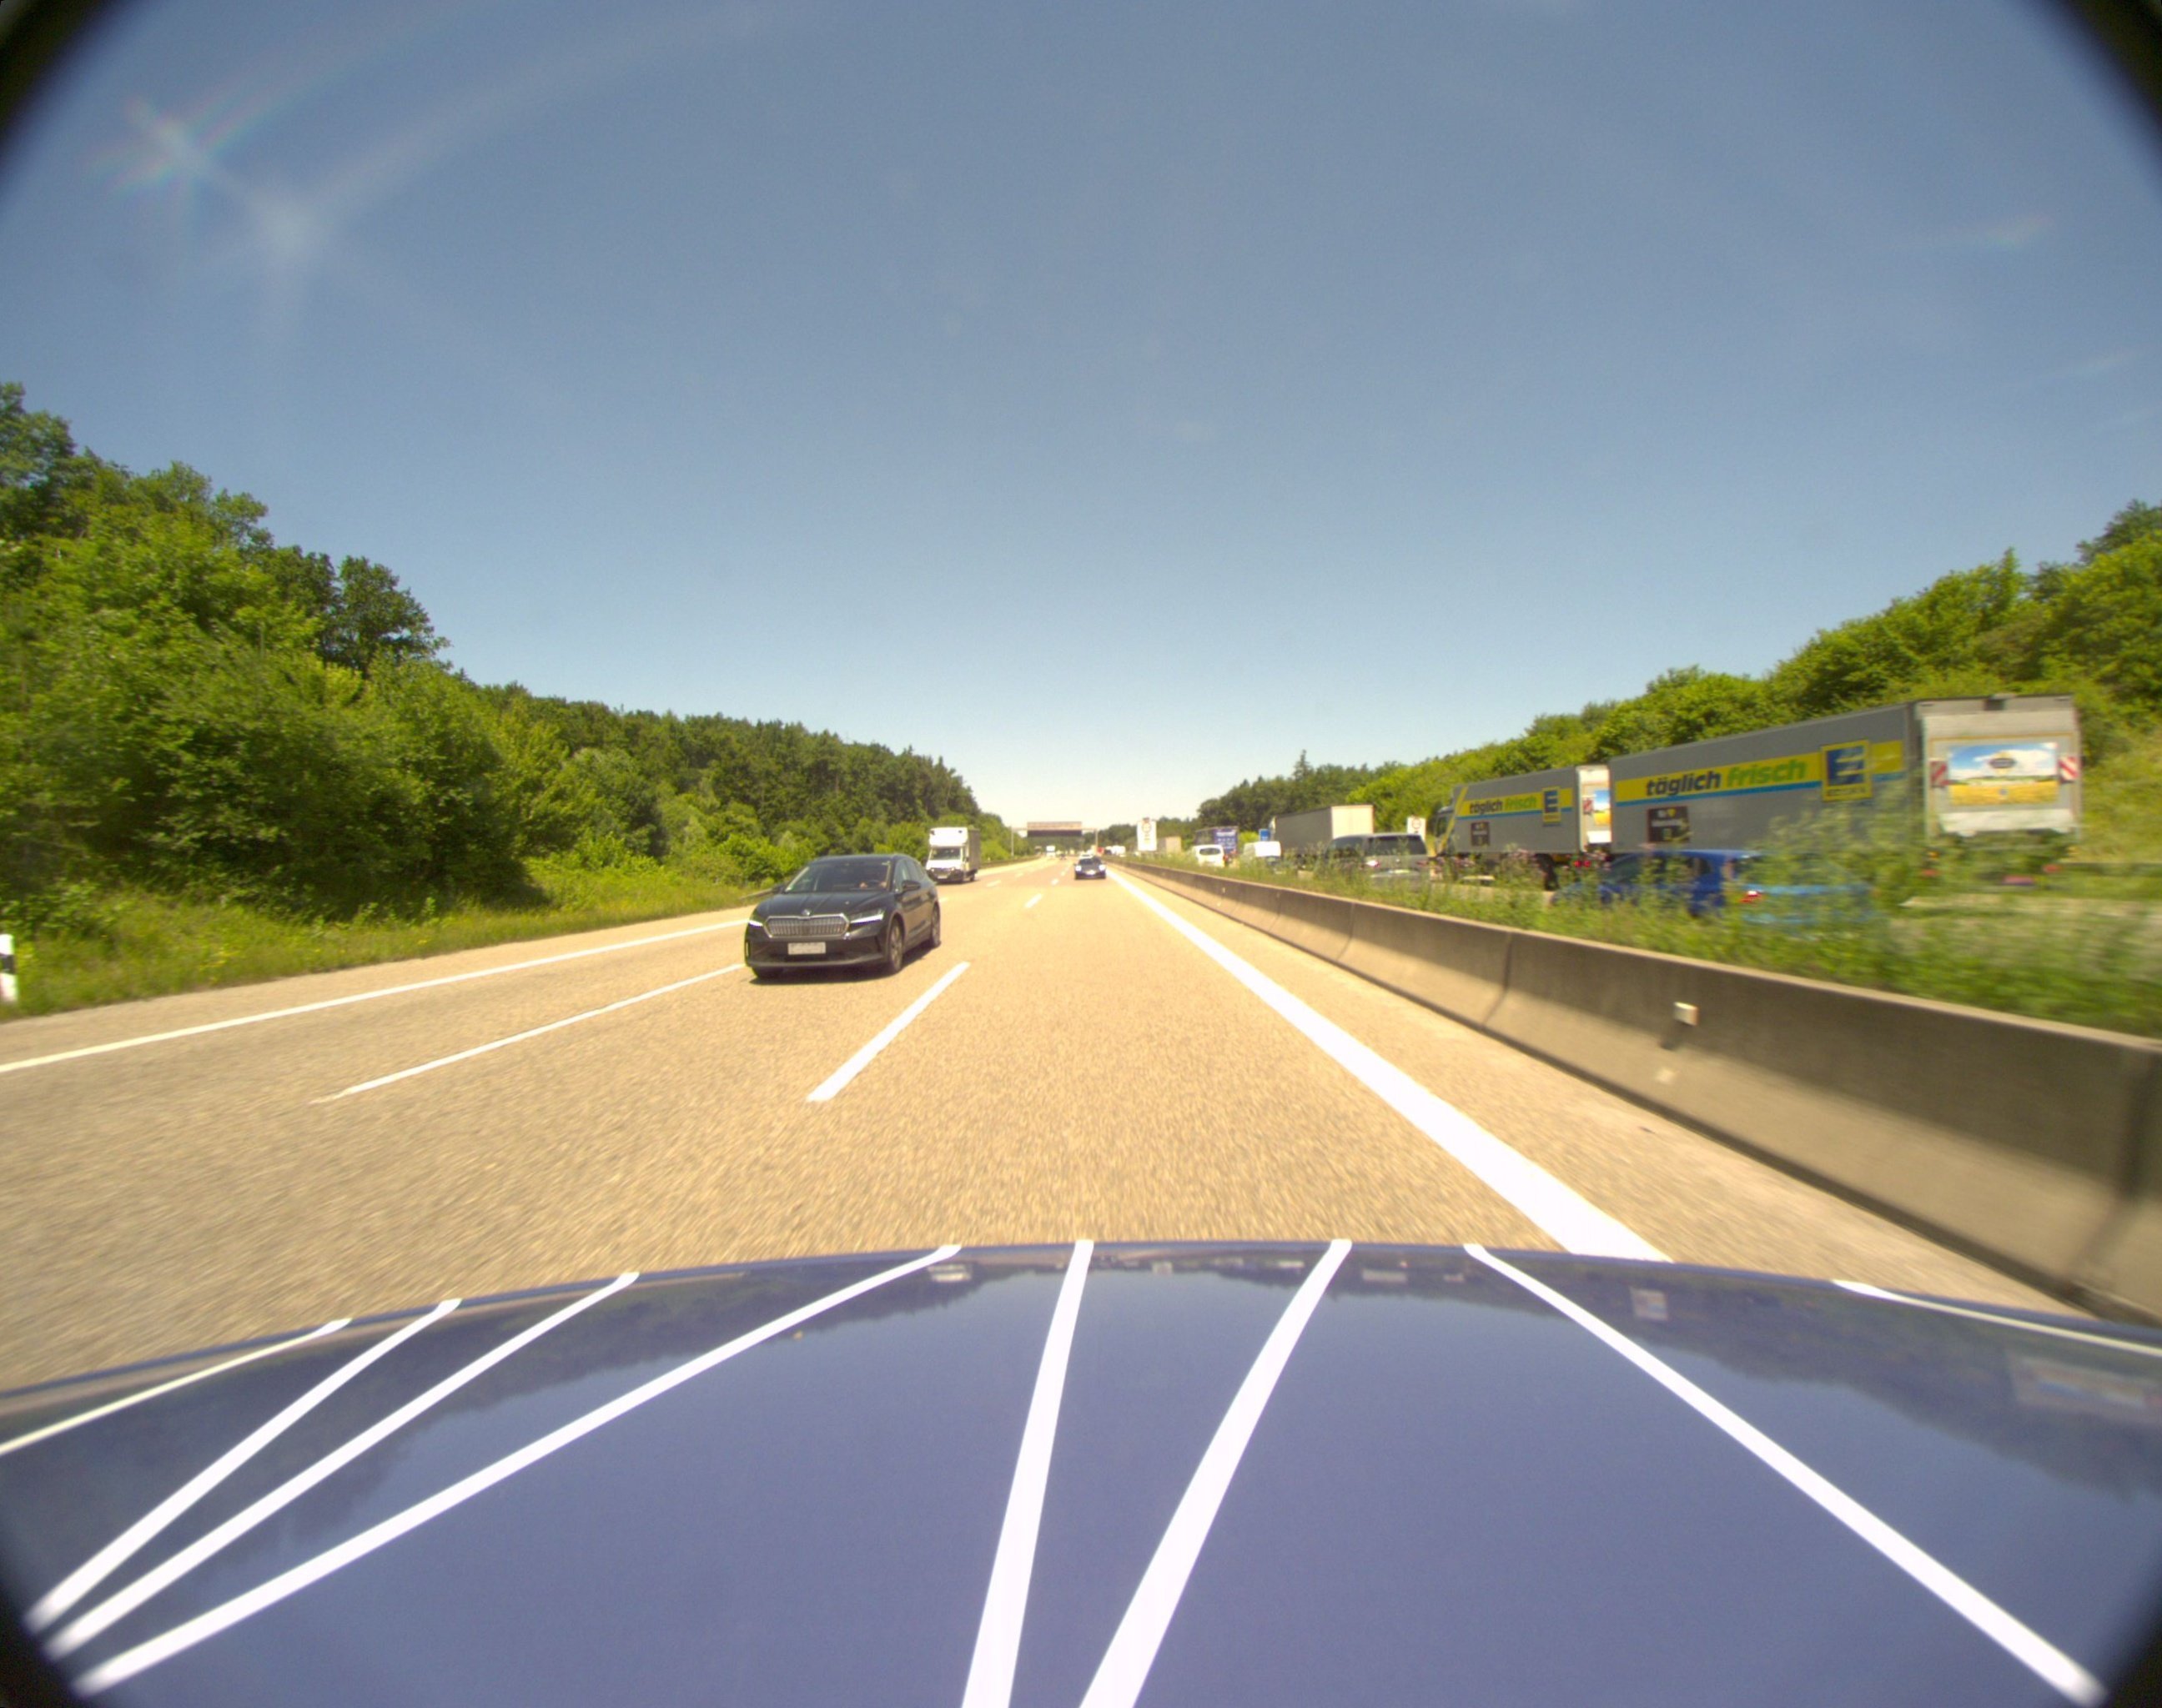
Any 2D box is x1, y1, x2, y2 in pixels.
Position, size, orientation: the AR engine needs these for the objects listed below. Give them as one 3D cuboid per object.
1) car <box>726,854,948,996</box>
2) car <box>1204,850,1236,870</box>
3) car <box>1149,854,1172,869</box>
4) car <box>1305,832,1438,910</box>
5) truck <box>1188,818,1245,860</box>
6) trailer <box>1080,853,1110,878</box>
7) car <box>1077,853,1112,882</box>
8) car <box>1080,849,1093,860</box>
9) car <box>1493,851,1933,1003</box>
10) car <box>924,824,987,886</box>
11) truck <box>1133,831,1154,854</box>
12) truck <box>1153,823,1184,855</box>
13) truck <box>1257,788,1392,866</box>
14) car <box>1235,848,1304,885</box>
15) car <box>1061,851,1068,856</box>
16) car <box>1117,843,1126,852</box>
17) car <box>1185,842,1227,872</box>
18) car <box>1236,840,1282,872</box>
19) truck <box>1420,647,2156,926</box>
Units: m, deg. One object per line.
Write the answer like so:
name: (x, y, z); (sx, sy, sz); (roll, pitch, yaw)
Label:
car: (-3.364, 0.860, 11.507); (1.990, 1.610, 4.456); (-2, 1, -2)
car: (12.456, 0.499, 68.298); (1.896, 1.669, 4.757); (-2, 1, -1)
car: (8.074, 0.764, 77.584); (1.896, 1.369, 3.999); (-2, 1, -1)
car: (8.130, 0.400, 21.823); (1.831, 1.905, 4.971); (-2, 1, -1)
truck: (16.213, -1.833, 93.005); (3.705, 4.431, 19.449); (-2, 1, 1)
trailer: (0.863, 0.659, 45.526); (1.689, 1.399, 3.046); (-2, 0, 3)
car: (0.803, 0.707, 42.147); (1.718, 1.432, 4.457); (-1, 1, 3)
car: (0.803, 0.062, 108.961); (1.718, 1.432, 4.457); (-1, 1, 1)
car: (7.950, 0.749, 10.408); (1.831, 1.469, 4.971); (-2, 1, -1)
car: (-7.424, -0.012, 45.881); (2.303, 3.317, 7.621); (-2, 1, 0)
truck: (15.471, -2.912, 189.984); (3.705, 5.470, 19.449); (-2, 1, 1)
truck: (16.142, -2.766, 142.225); (3.705, 5.470, 19.449); (-2, 1, 1)
truck: (16.641, -1.739, 54.590); (3.705, 4.431, 19.449); (-2, 1, 1)
car: (8.372, 0.497, 34.176); (1.831, 1.472, 4.658); (-2, 1, -1)
car: (-4.666, -0.056, 215.282); (1.719, 1.431, 4.456); (-2, 0, -1)
car: (8.293, -1.379, 155.499); (1.674, 1.745, 4.249); (-2, 1, 1)
car: (8.450, 0.151, 51.729); (1.986, 1.833, 5.019); (-2, 1, 1)
car: (12.175, 0.075, 52.216); (1.896, 2.012, 4.757); (-2, 1, -1)
truck: (16.025, -1.245, 22.257); (3.705, 4.431, 19.449); (-2, 1, 1)
